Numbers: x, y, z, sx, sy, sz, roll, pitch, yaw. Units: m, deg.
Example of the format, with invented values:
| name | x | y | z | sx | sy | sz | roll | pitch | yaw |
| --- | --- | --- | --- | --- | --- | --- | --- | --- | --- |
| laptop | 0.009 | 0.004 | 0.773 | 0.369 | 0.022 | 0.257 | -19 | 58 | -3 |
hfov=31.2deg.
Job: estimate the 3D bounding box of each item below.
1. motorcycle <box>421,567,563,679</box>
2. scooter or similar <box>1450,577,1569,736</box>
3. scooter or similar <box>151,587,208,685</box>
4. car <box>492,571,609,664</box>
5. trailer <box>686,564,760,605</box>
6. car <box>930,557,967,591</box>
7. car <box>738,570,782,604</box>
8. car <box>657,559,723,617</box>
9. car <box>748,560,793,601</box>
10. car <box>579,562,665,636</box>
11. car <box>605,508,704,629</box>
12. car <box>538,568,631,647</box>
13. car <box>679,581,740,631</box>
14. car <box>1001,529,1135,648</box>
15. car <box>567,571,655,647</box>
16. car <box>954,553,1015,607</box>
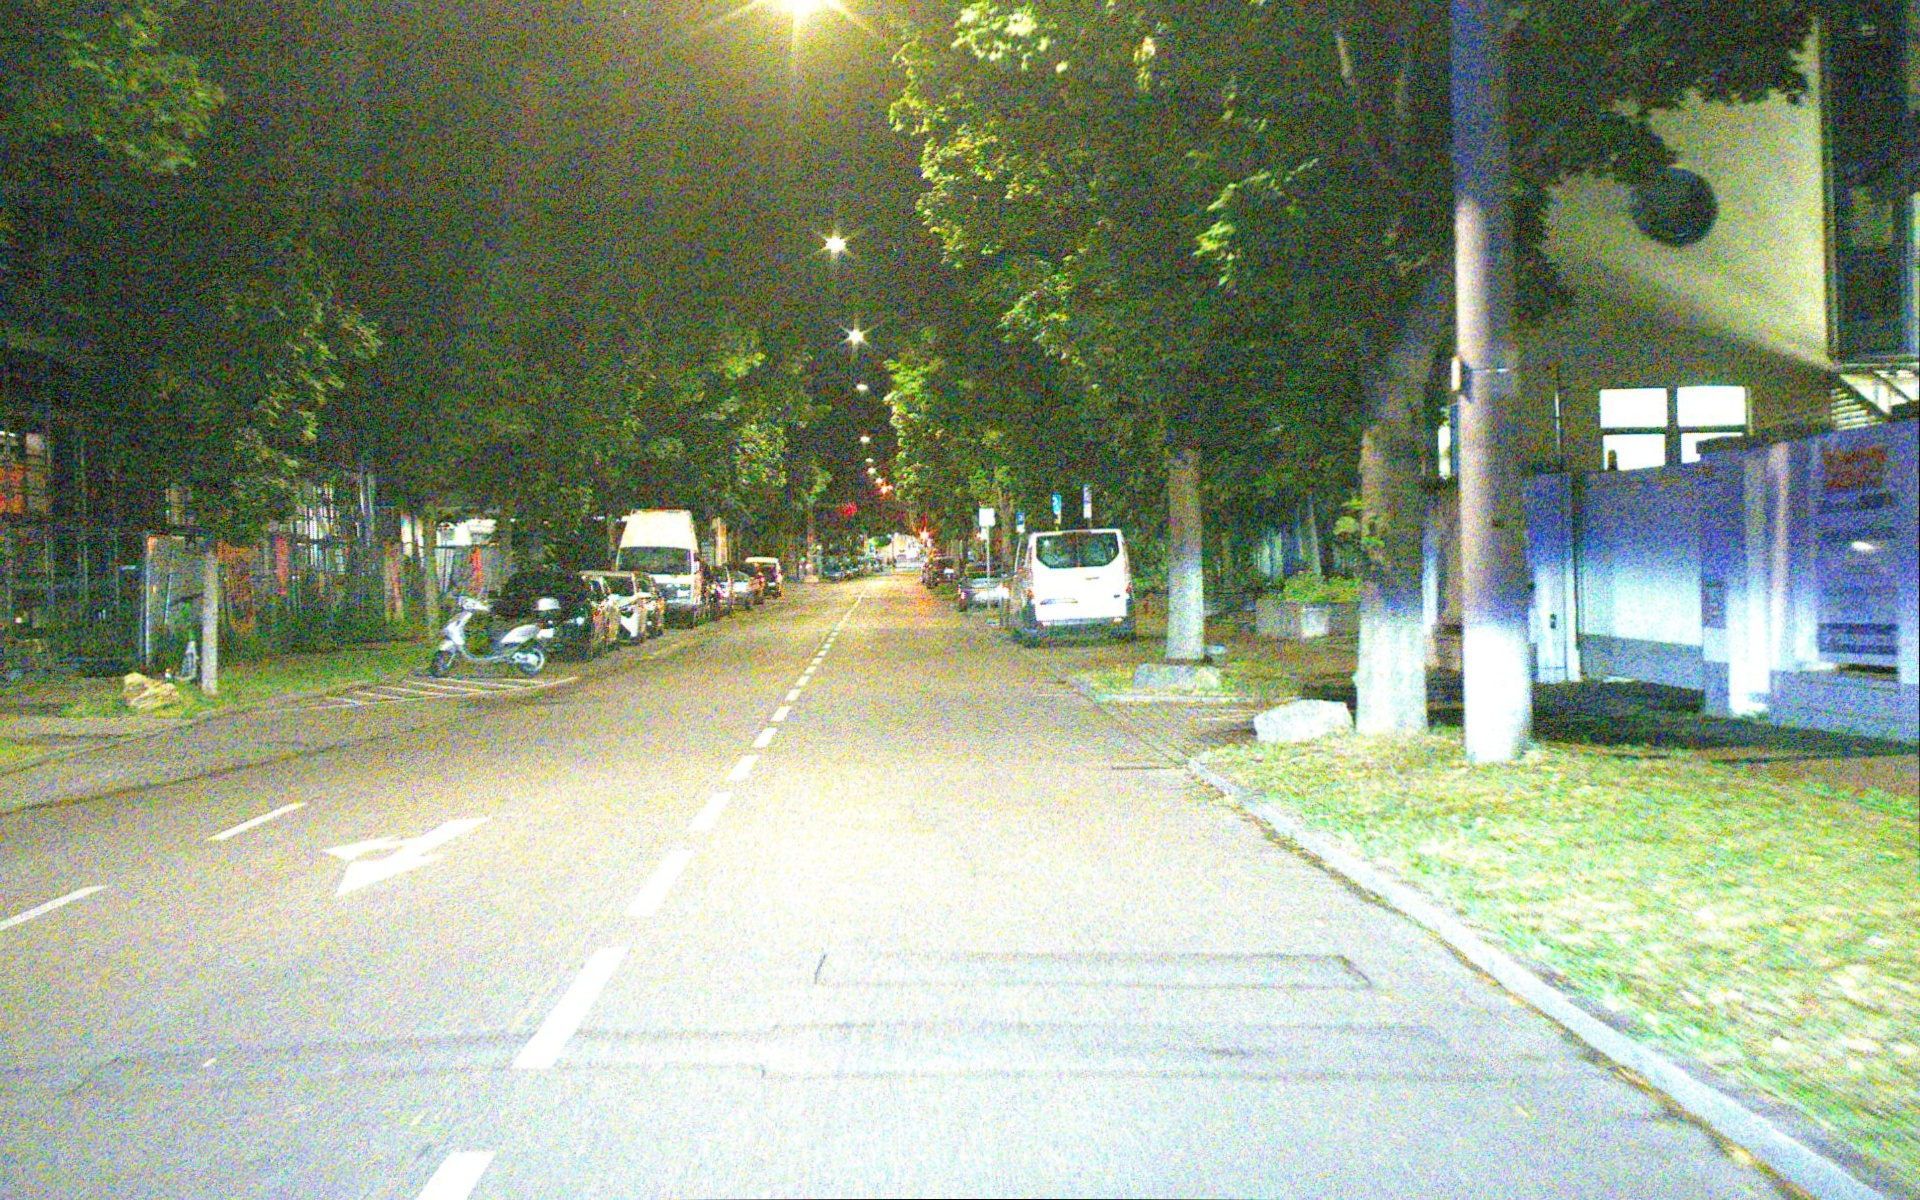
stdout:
| name | x | y | z | sx | sy | sz | roll | pitch | yaw |
| --- | --- | --- | --- | --- | --- | --- | --- | --- | --- |
| motorcycle | -6.668 | 0.319 | 48.984 | 1.901 | 1.544 | 0.639 | -1 | 1 | -20 |
| scooter or similar | 4.369 | 0.457 | 27.435 | 0.547 | 1.199 | 1.911 | -2 | -1 | -1 |
| scooter or similar | -9.846 | 0.447 | 43.387 | 0.367 | 1.200 | 1.427 | -3 | 0 | -1 |
| car | -6.951 | 0.272 | 58.656 | 1.642 | 1.499 | 3.904 | 0 | 1 | -2 |
| trailer | -7.968 | -0.548 | 115.893 | 2.110 | 1.330 | 5.435 | 0 | 1 | 0 |
| car | -0.586 | -1.321 | 173.297 | 1.853 | 1.648 | 4.209 | 0 | 1 | 0 |
| car | -8.891 | -0.597 | 153.034 | 1.700 | 1.428 | 3.828 | 1 | 1 | 0 |
| car | -7.641 | -0.359 | 97.491 | 1.741 | 1.601 | 4.299 | 0 | 1 | -3 |
| car | -8.798 | -0.923 | 160.082 | 1.822 | 1.805 | 4.210 | 1 | 1 | 0 |
| car | -7.261 | -0.046 | 74.020 | 1.645 | 1.499 | 3.862 | 0 | 1 | -3 |
| car | -7.625 | -0.810 | 86.250 | 2.179 | 2.899 | 4.910 | -1 | 1 | -2 |
| car | -7.043 | 0.119 | 64.674 | 1.444 | 1.425 | 3.904 | 0 | 1 | -2 |
| car | -7.852 | 0.178 | 107.968 | 1.716 | 1.497 | 4.206 | 0 | 1 | -2 |
| car | 1.855 | -0.233 | 60.354 | 1.950 | 1.957 | 4.604 | -2 | 1 | -3 |
| car | -7.021 | 0.164 | 69.349 | 1.547 | 1.450 | 3.368 | 0 | 1 | -2 |
| car | 0.741 | -0.616 | 102.563 | 1.668 | 1.424 | 4.148 | -4 | 1 | 1 |
